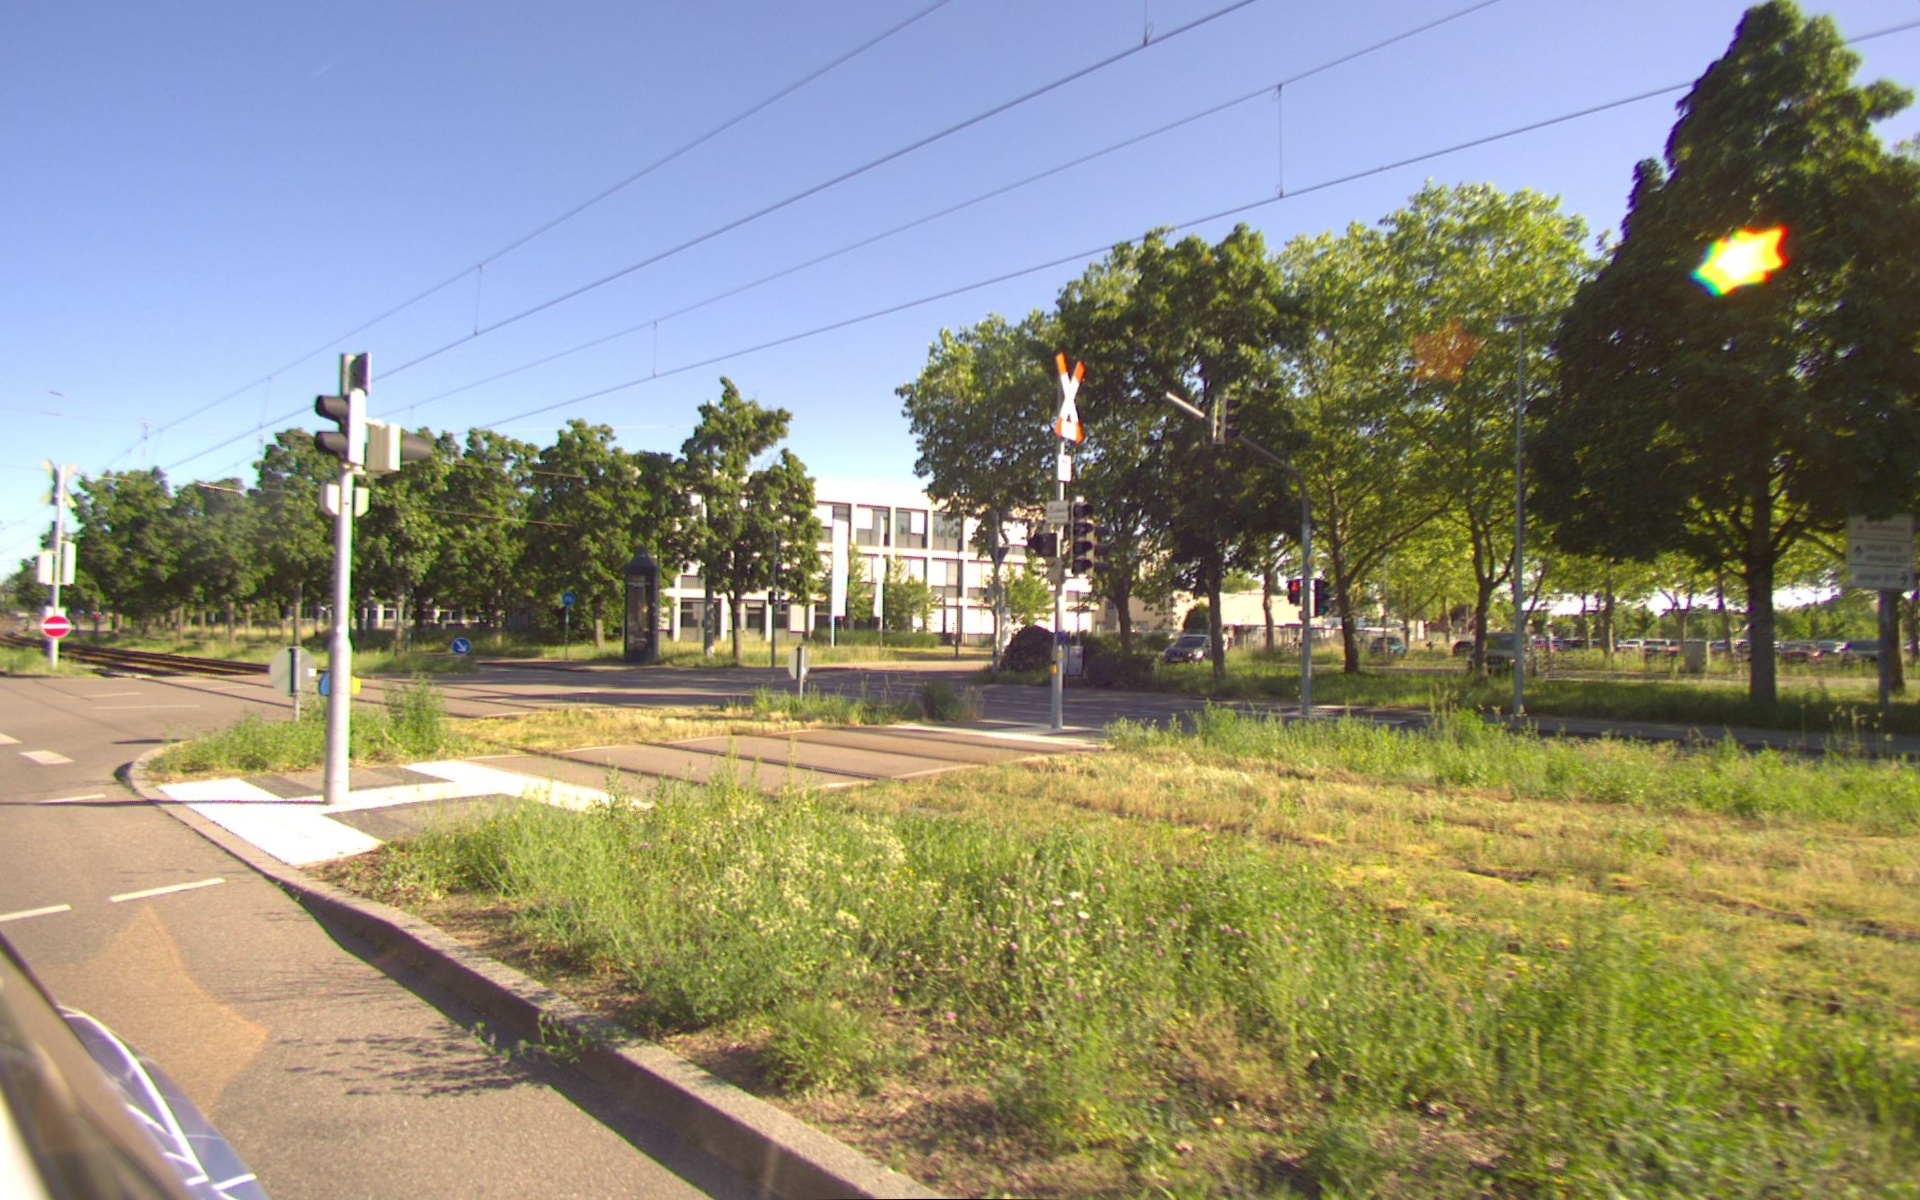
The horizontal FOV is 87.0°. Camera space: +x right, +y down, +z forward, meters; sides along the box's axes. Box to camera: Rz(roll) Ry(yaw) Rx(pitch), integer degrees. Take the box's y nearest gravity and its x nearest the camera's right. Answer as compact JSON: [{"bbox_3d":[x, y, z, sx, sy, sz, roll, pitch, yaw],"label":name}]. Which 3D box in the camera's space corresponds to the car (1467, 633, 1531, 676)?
[{"bbox_3d":[18.840,1.900,35.462,1.864,1.392,3.962,-1,-3,28],"label":"car"}]

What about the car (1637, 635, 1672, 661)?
[{"bbox_3d":[46.633,3.204,68.027,1.826,1.681,3.955,-1,-2,33],"label":"car"}]

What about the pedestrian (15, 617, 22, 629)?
[{"bbox_3d":[-140.158,3.455,150.654,0.782,1.765,0.775,-1,-2,45],"label":"pedestrian"}]

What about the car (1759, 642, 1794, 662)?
[{"bbox_3d":[71.420,4.513,88.470,3.939,1.618,1.833,2,-2,-43],"label":"car"}]

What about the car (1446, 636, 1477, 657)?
[{"bbox_3d":[40.230,3.674,81.125,1.826,1.618,3.955,-1,-2,33],"label":"car"}]

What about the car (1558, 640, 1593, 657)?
[{"bbox_3d":[60.066,4.725,98.694,1.978,1.561,4.366,-1,-3,45],"label":"car"}]

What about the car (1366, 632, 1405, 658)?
[{"bbox_3d":[29.496,3.098,70.055,1.826,1.681,3.955,-1,-2,33],"label":"car"}]

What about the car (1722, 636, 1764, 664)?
[{"bbox_3d":[50.287,3.191,65.047,1.826,1.681,3.955,-1,-2,33],"label":"car"}]

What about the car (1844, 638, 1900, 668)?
[{"bbox_3d":[47.783,2.746,53.086,1.743,1.460,3.929,-1,-2,36],"label":"car"}]

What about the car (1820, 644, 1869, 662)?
[{"bbox_3d":[76.608,4.596,87.631,4.356,1.561,1.996,2,-3,-33],"label":"car"}]

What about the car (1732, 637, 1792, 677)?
[{"bbox_3d":[31.215,2.183,39.457,1.663,1.443,3.929,-1,-2,36],"label":"car"}]

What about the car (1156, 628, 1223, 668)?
[{"bbox_3d":[10.145,2.079,44.513,1.823,1.681,3.959,-1,-2,30],"label":"car"}]
